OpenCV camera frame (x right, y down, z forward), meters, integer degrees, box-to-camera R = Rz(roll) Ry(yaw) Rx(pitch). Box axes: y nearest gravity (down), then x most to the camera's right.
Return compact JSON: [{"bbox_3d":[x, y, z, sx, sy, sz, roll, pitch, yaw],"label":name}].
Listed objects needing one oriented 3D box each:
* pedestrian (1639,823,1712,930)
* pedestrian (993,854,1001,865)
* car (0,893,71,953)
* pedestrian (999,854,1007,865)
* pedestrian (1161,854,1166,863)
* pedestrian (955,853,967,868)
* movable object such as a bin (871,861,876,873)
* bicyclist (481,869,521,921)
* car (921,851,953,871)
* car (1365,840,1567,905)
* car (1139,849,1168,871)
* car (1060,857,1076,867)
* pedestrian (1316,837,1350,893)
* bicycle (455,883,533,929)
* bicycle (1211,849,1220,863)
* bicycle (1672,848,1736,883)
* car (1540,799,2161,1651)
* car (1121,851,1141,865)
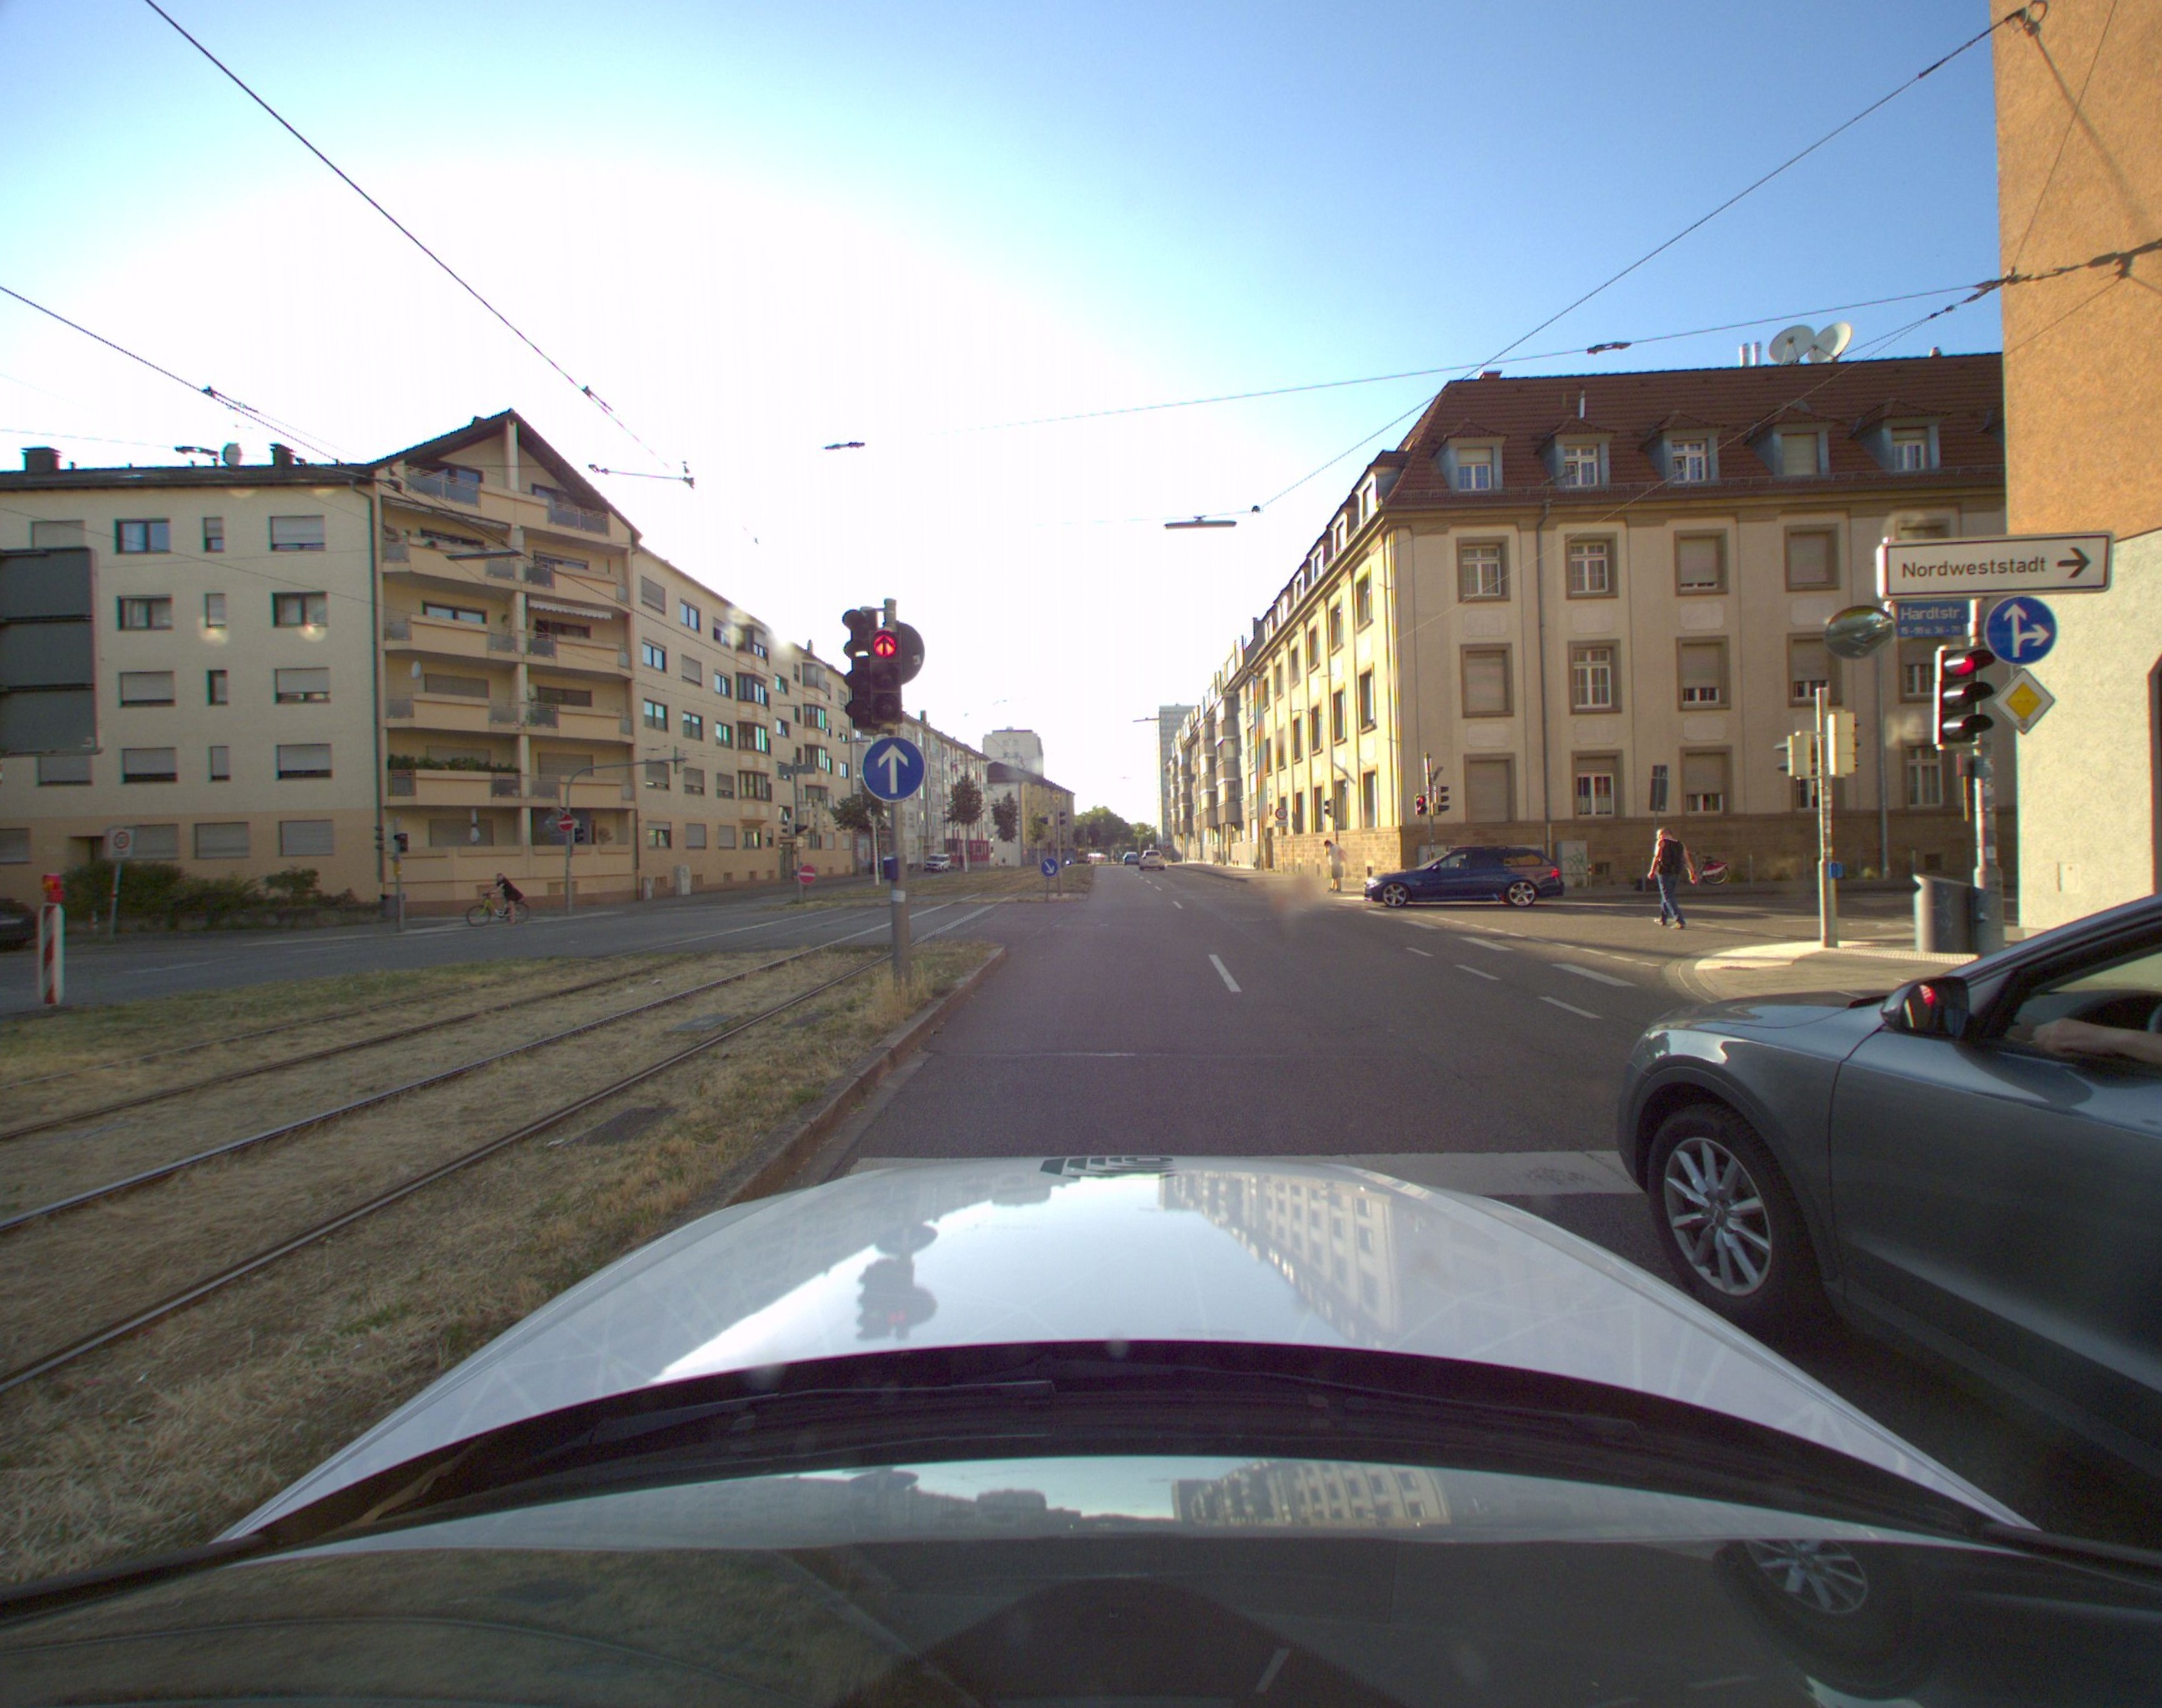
[{"bbox_3d":[10.119,0.377,13.886,0.627,1.758,0.826,0,-1,1],"label":"pedestrian"},{"bbox_3d":[-12.536,0.806,121.104,0.957,1.694,1.013,-1,-1,7],"label":"pedestrian"},{"bbox_3d":[-30.147,1.910,21.505,3.983,1.442,1.996,-2,2,-7],"label":"car"},{"bbox_3d":[-11.650,0.803,121.619,0.957,1.670,1.013,-1,-1,7],"label":"pedestrian"},{"bbox_3d":[11.057,0.625,109.020,0.688,1.234,0.737,0,-1,2],"label":"pedestrian"},{"bbox_3d":[-14.232,0.811,96.593,1.268,1.761,1.271,0,-1,-8],"label":"pedestrian"},{"bbox_3d":[-17.561,1.113,68.973,0.297,1.036,0.442,0,-1,3],"label":"movable object such as a bin"},{"bbox_3d":[-18.135,1.262,25.458,0.620,1.586,0.814,-1,0,35],"label":"bicyclist"},{"bbox_3d":[-14.506,0.703,82.124,1.984,1.925,4.548,0,-1,5],"label":"car"},{"bbox_3d":[9.262,0.446,20.009,4.279,1.456,1.941,-1,-1,17],"label":"car"},{"bbox_3d":[5.262,0.424,59.789,1.985,1.564,4.003,0,-1,3],"label":"car"},{"bbox_3d":[-2.403,1.498,151.255,1.885,1.633,4.761,-2,0,10],"label":"car"},{"bbox_3d":[8.079,0.358,26.171,0.832,1.762,0.824,0,-1,1],"label":"pedestrian"},{"bbox_3d":[-18.226,1.589,25.331,0.450,1.257,1.883,-1,1,34],"label":"bicycle"},{"bbox_3d":[10.246,0.152,61.840,0.382,1.096,1.503,-2,-1,0],"label":"bicycle"},{"bbox_3d":[18.358,0.329,24.012,1.491,1.018,0.251,-1,-1,17],"label":"bicycle"},{"bbox_3d":[2.813,0.673,1.482,1.691,1.552,4.227,0,0,2],"label":"car"},{"bbox_3d":[5.413,0.449,88.459,1.986,1.554,4.394,0,0,1],"label":"car"}]
